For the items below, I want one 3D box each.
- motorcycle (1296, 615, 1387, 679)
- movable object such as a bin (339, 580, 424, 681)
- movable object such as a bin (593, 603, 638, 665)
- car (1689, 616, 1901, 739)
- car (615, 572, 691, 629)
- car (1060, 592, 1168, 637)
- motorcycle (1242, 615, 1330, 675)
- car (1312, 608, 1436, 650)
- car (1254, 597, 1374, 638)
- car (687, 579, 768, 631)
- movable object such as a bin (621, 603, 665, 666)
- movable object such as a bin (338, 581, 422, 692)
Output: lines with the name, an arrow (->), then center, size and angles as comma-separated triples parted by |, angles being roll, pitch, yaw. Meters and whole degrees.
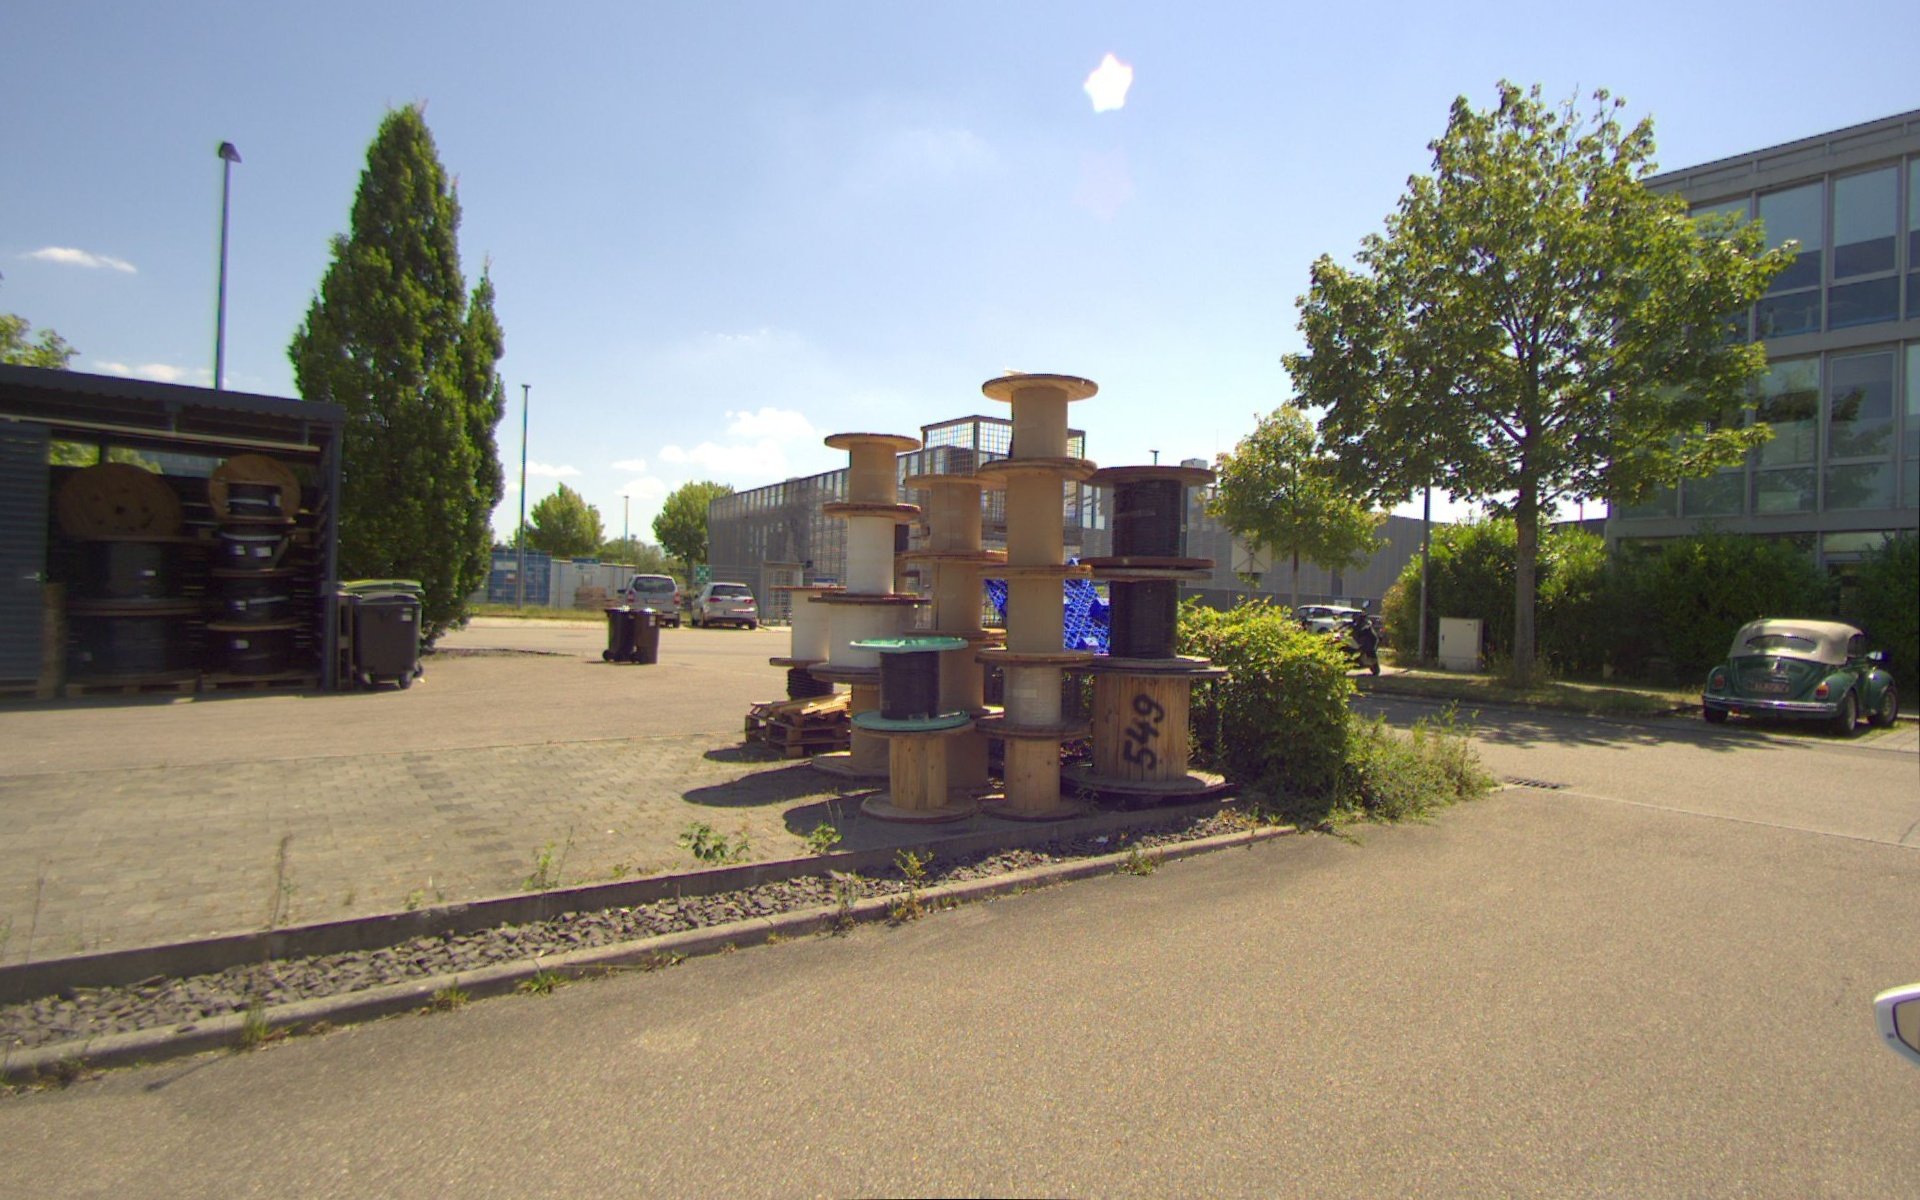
motorcycle -> 7.372, 0.880, 19.394 | 1.939, 1.153, 0.708 | 1, 0, -37
movable object such as a bin -> -8.017, 0.420, 13.947 | 0.962, 1.347, 0.704 | 2, 0, -30
movable object such as a bin -> -5.994, 0.588, 17.494 | 0.570, 1.041, 0.425 | 2, 0, 21
car -> 11.819, 0.992, 14.162 | 3.621, 1.468, 1.530 | 1, 1, -38
car -> -9.900, -0.004, 32.252 | 1.971, 1.611, 3.979 | 3, 0, -21
car -> 5.638, 0.506, 37.415 | 1.971, 1.511, 4.491 | 1, 1, -21
motorcycle -> 6.645, 0.897, 20.429 | 1.939, 1.153, 0.708 | 1, 0, -37
car -> 17.226, 1.156, 42.071 | 1.971, 1.511, 4.830 | 1, 1, -21
car -> 14.471, 0.685, 41.351 | 1.971, 1.511, 4.830 | 1, 1, -21
car -> -7.684, 0.123, 32.915 | 1.971, 1.511, 3.979 | 3, 0, -21
movable object such as a bin -> -5.454, 0.591, 17.287 | 0.567, 1.050, 0.425 | 2, 0, 21
movable object such as a bin -> -7.419, 0.457, 12.871 | 0.874, 1.362, 0.807 | 2, 0, -30
